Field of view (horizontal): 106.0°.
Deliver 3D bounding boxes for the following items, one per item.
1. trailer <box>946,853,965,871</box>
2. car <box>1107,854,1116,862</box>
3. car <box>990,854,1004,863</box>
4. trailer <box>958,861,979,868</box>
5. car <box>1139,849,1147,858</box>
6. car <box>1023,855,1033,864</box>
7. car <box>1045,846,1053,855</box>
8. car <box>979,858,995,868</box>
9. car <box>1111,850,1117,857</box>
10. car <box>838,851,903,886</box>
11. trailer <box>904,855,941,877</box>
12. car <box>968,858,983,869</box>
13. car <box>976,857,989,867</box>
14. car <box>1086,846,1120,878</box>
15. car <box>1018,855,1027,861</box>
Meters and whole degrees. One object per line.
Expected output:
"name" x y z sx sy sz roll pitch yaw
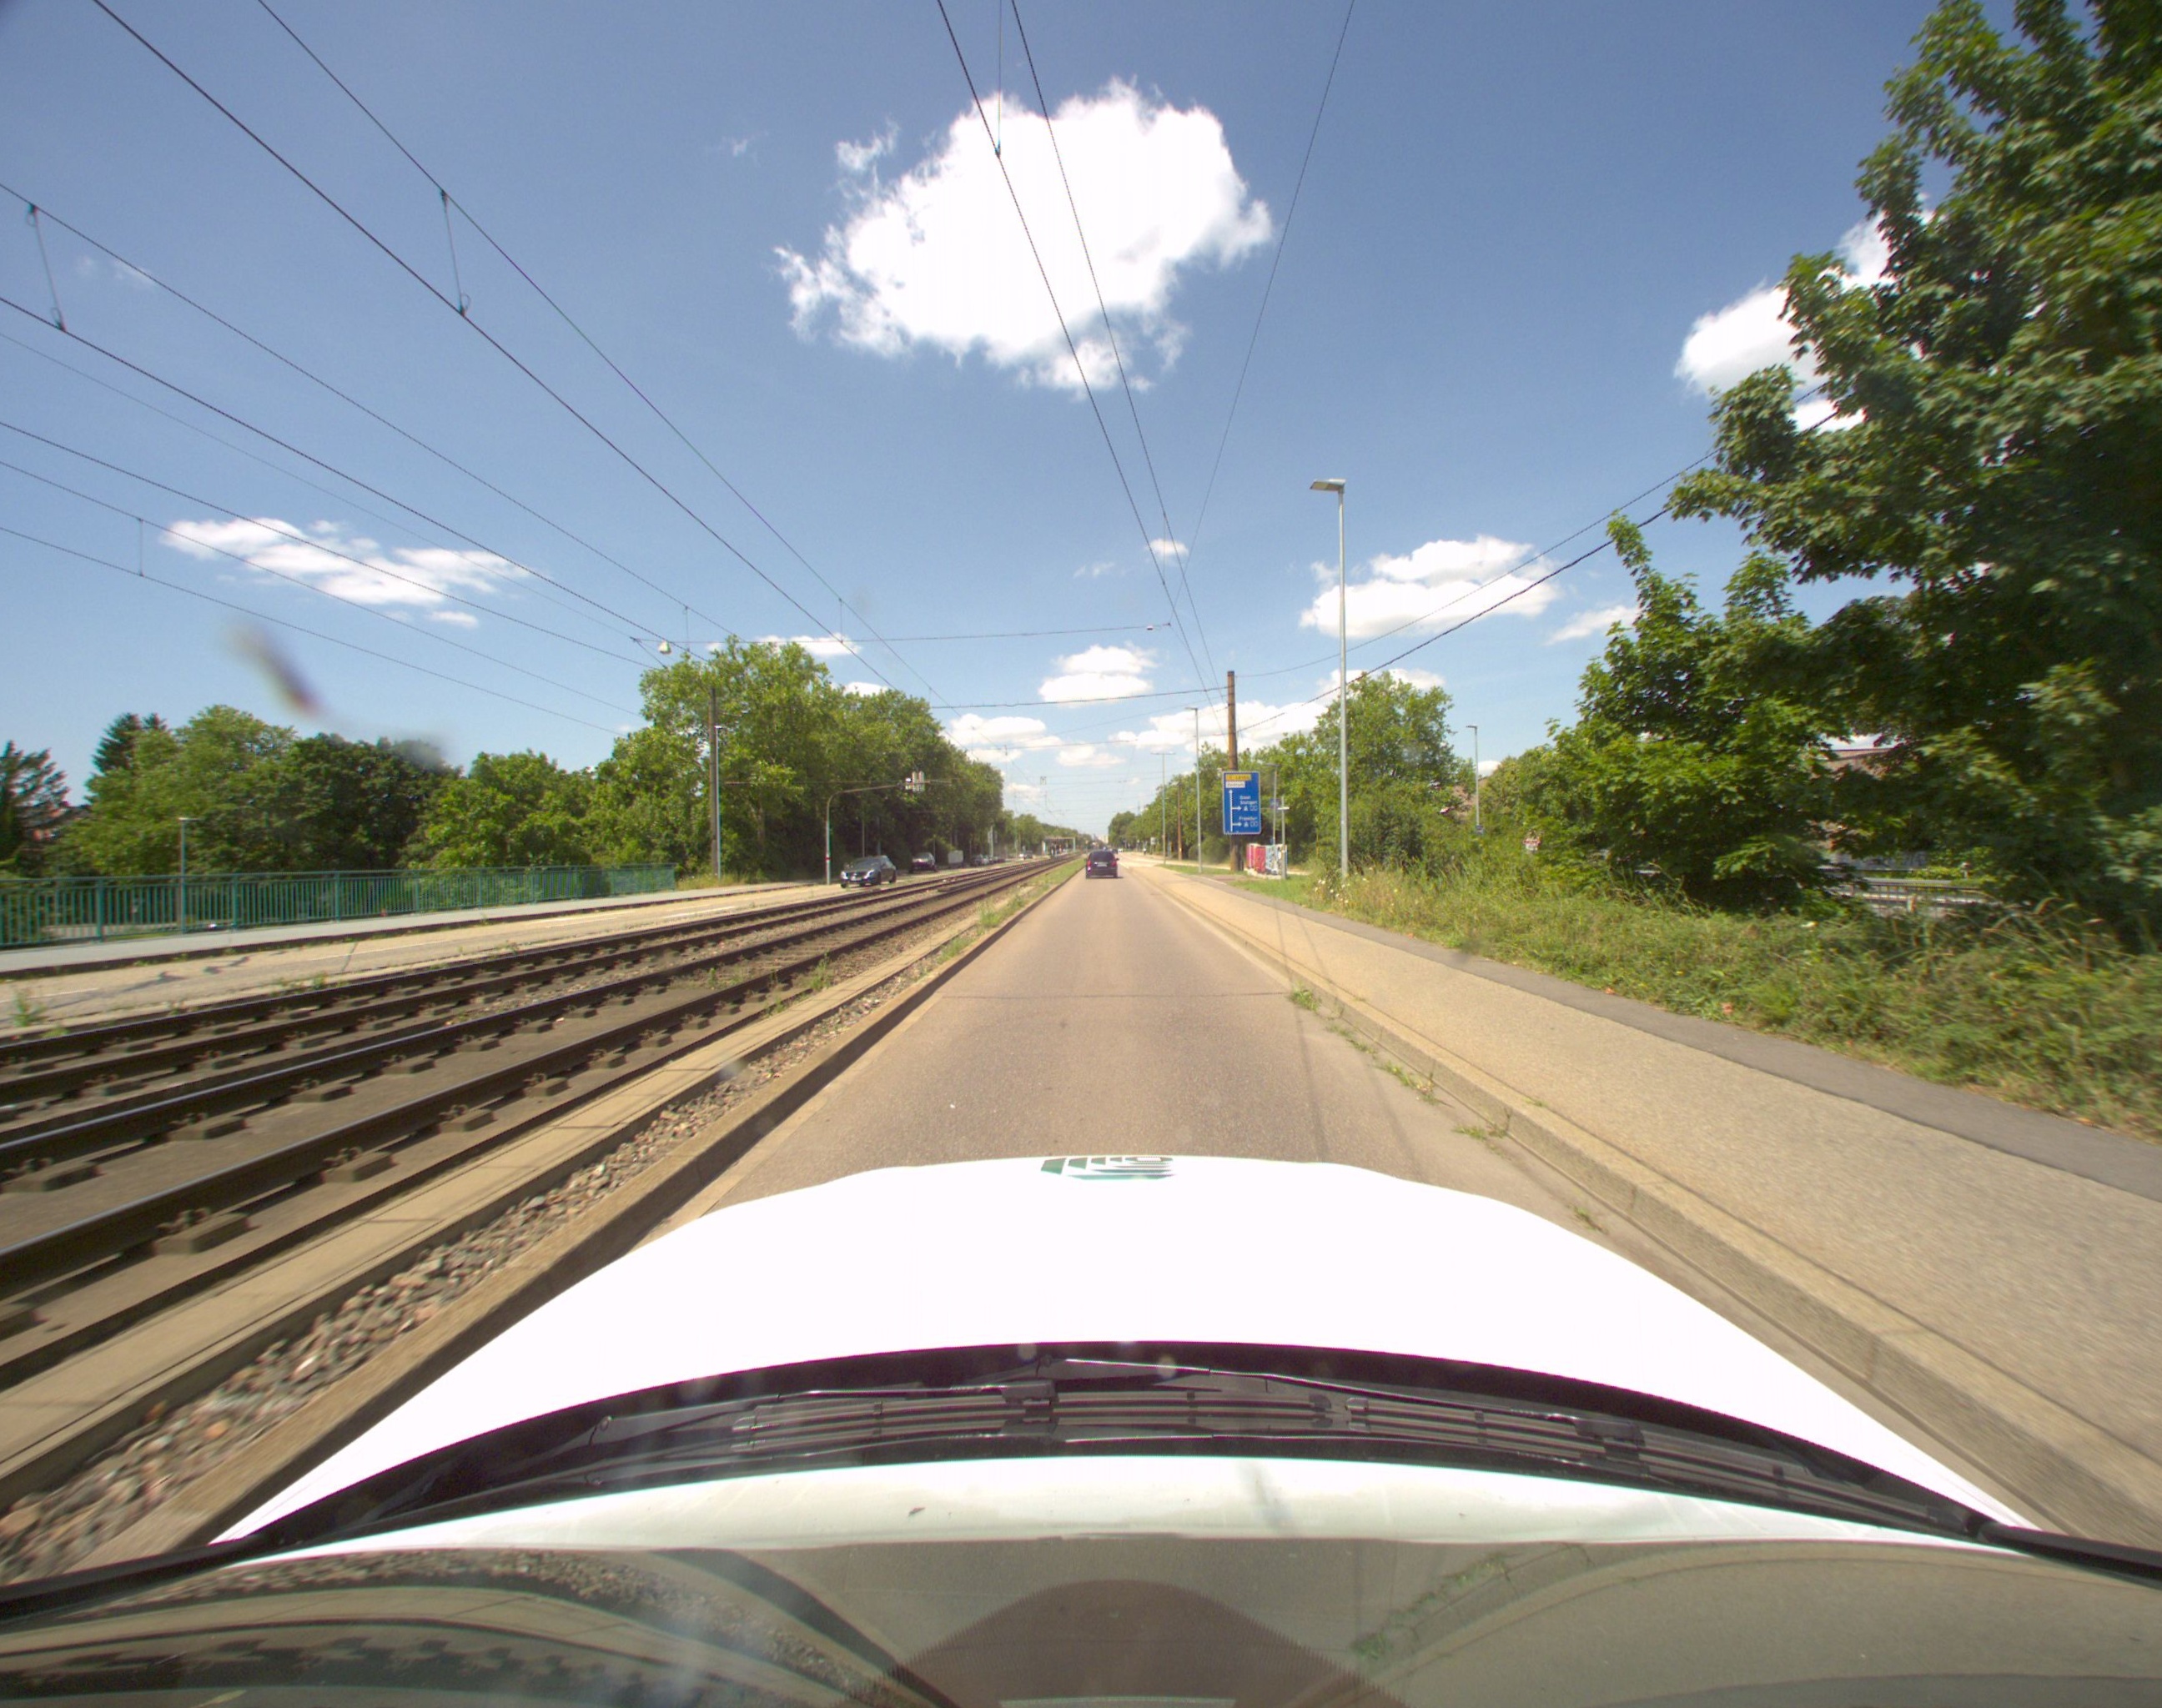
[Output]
"trailer" -14.520 0.907 94.474 1.605 2.013 3.914 0 0 -1
"car" 6.673 0.825 179.777 1.877 1.639 4.003 3 1 2
"car" -14.352 0.731 139.627 1.986 1.574 4.001 -1 0 1
"trailer" -14.004 1.322 101.275 1.986 0.742 4.000 -1 -1 1
"car" 14.786 -0.053 194.567 1.607 2.013 3.440 0 1 1
"car" -11.968 1.255 184.605 1.986 2.013 4.001 -2 0 1
"car" -7.514 -0.779 190.052 1.580 2.013 4.110 0 1 0
"car" -13.948 1.294 121.323 1.864 1.401 4.417 0 0 -1
"car" 9.765 -0.177 242.223 1.780 2.013 4.002 0 1 2
"car" -10.861 0.721 42.451 1.868 1.720 5.331 -1 0 1
"trailer" -14.320 1.039 74.024 2.456 1.889 5.955 0 0 -3
"car" -14.178 1.263 109.583 1.429 1.451 3.920 0 0 0
"car" -13.941 1.132 115.779 1.429 1.451 3.740 0 0 0
"car" 1.268 0.408 45.847 1.846 1.570 4.391 0 2 2
"car" -16.213 1.107 225.311 1.986 1.574 4.002 -1 0 2
